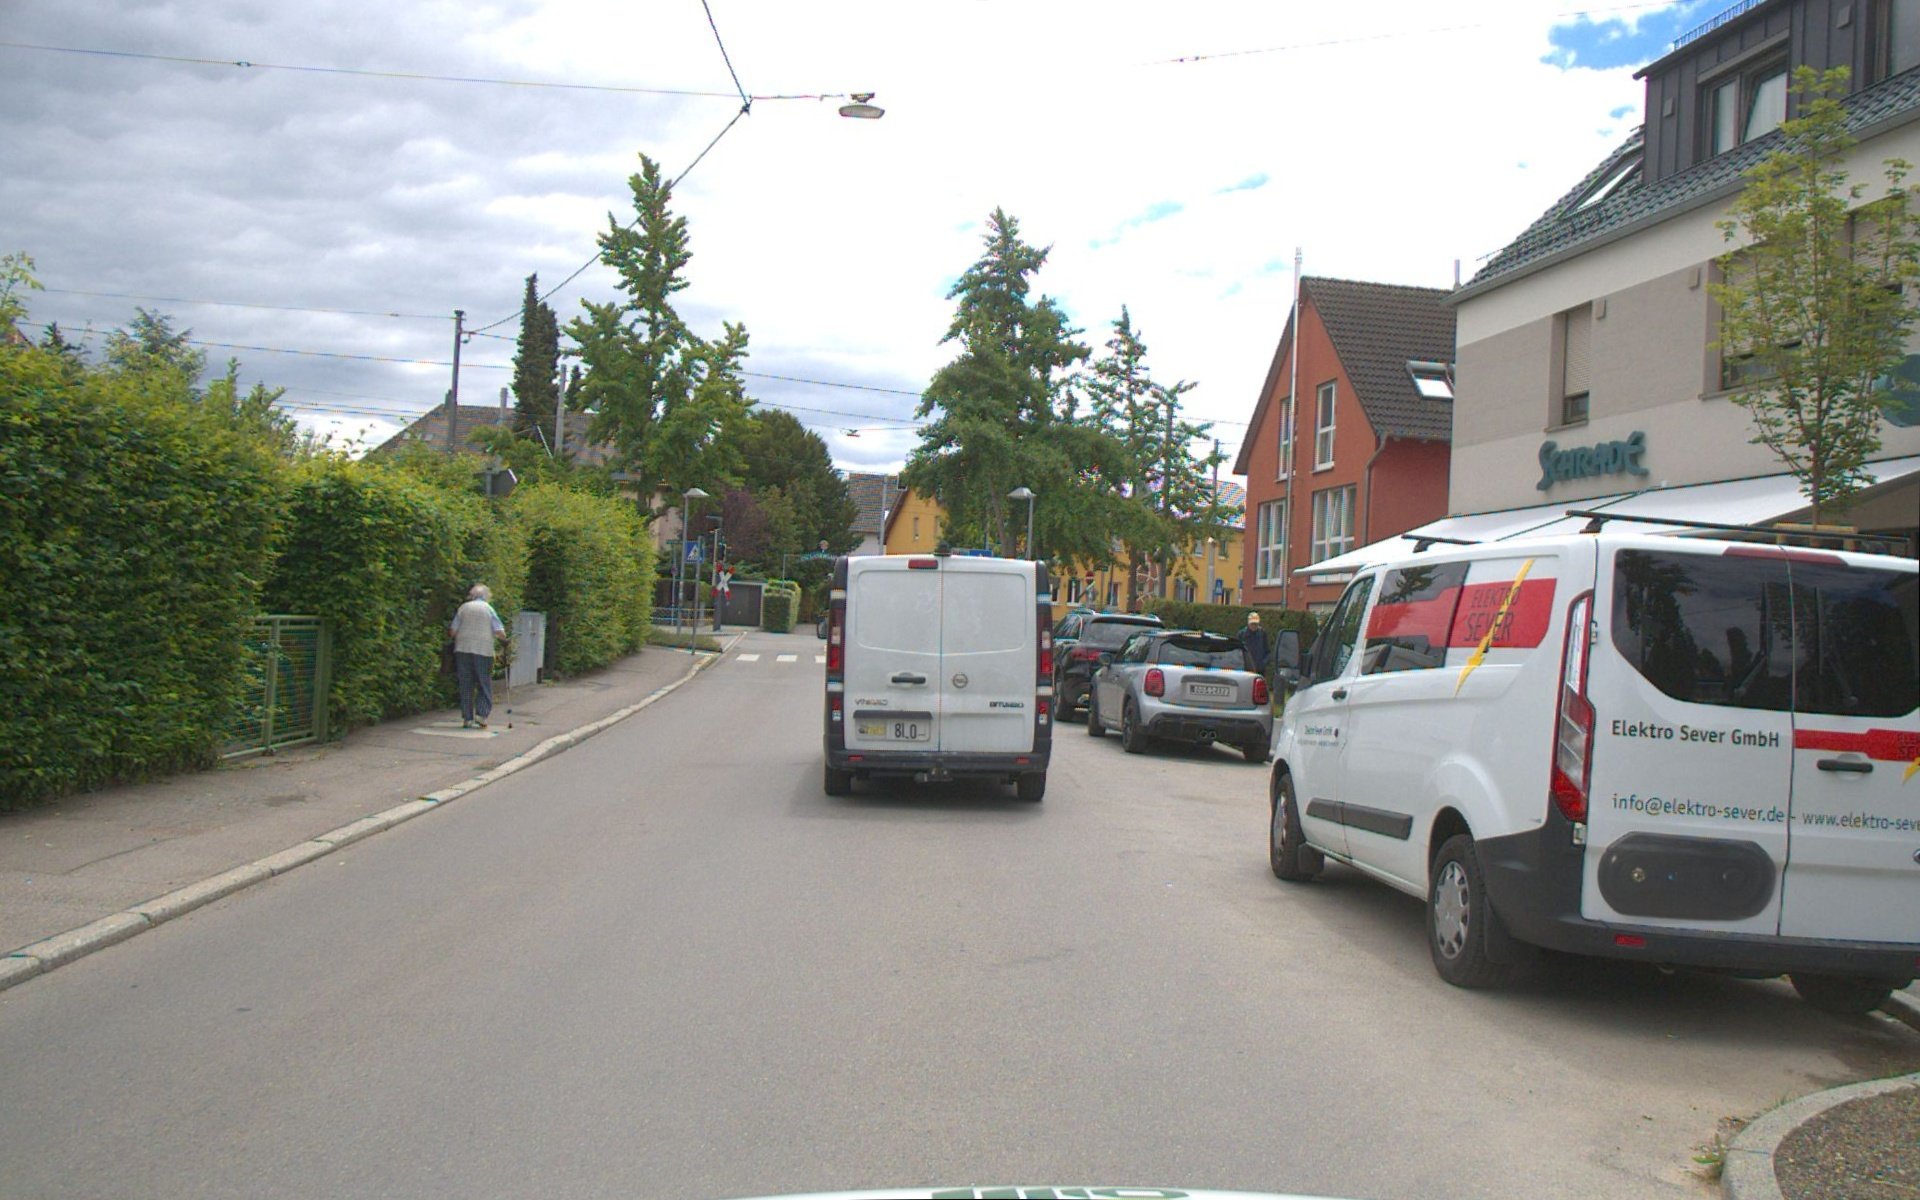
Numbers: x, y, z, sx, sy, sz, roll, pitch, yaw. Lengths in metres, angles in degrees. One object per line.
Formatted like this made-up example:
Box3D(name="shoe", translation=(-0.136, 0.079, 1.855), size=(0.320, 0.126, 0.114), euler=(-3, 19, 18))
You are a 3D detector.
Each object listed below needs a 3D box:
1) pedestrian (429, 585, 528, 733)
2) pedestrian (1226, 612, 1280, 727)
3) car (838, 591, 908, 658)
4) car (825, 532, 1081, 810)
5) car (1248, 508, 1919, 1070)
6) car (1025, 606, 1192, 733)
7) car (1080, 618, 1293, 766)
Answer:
Box3D(name="pedestrian", translation=(-5.187, 0.631, 17.822), size=(0.864, 1.511, 0.452), euler=(5, -2, -23))
Box3D(name="pedestrian", translation=(4.337, 1.029, 24.534), size=(0.579, 1.634, 0.529), euler=(5, -2, -2))
Box3D(name="car", translation=(-2.627, 0.755, 50.069), size=(1.954, 1.880, 3.997), euler=(2, -1, -3))
Box3D(name="car", translation=(-0.187, 0.569, 14.786), size=(1.878, 2.038, 4.434), euler=(2, -1, -4))
Box3D(name="car", translation=(3.070, 0.770, 8.498), size=(1.920, 1.949, 4.897), euler=(5, -2, -4))
Box3D(name="car", translation=(2.175, 0.995, 25.306), size=(1.670, 1.642, 4.253), euler=(5, -1, -6))
Box3D(name="car", translation=(2.686, 1.072, 20.407), size=(1.708, 1.520, 3.650), euler=(5, -2, -6))
